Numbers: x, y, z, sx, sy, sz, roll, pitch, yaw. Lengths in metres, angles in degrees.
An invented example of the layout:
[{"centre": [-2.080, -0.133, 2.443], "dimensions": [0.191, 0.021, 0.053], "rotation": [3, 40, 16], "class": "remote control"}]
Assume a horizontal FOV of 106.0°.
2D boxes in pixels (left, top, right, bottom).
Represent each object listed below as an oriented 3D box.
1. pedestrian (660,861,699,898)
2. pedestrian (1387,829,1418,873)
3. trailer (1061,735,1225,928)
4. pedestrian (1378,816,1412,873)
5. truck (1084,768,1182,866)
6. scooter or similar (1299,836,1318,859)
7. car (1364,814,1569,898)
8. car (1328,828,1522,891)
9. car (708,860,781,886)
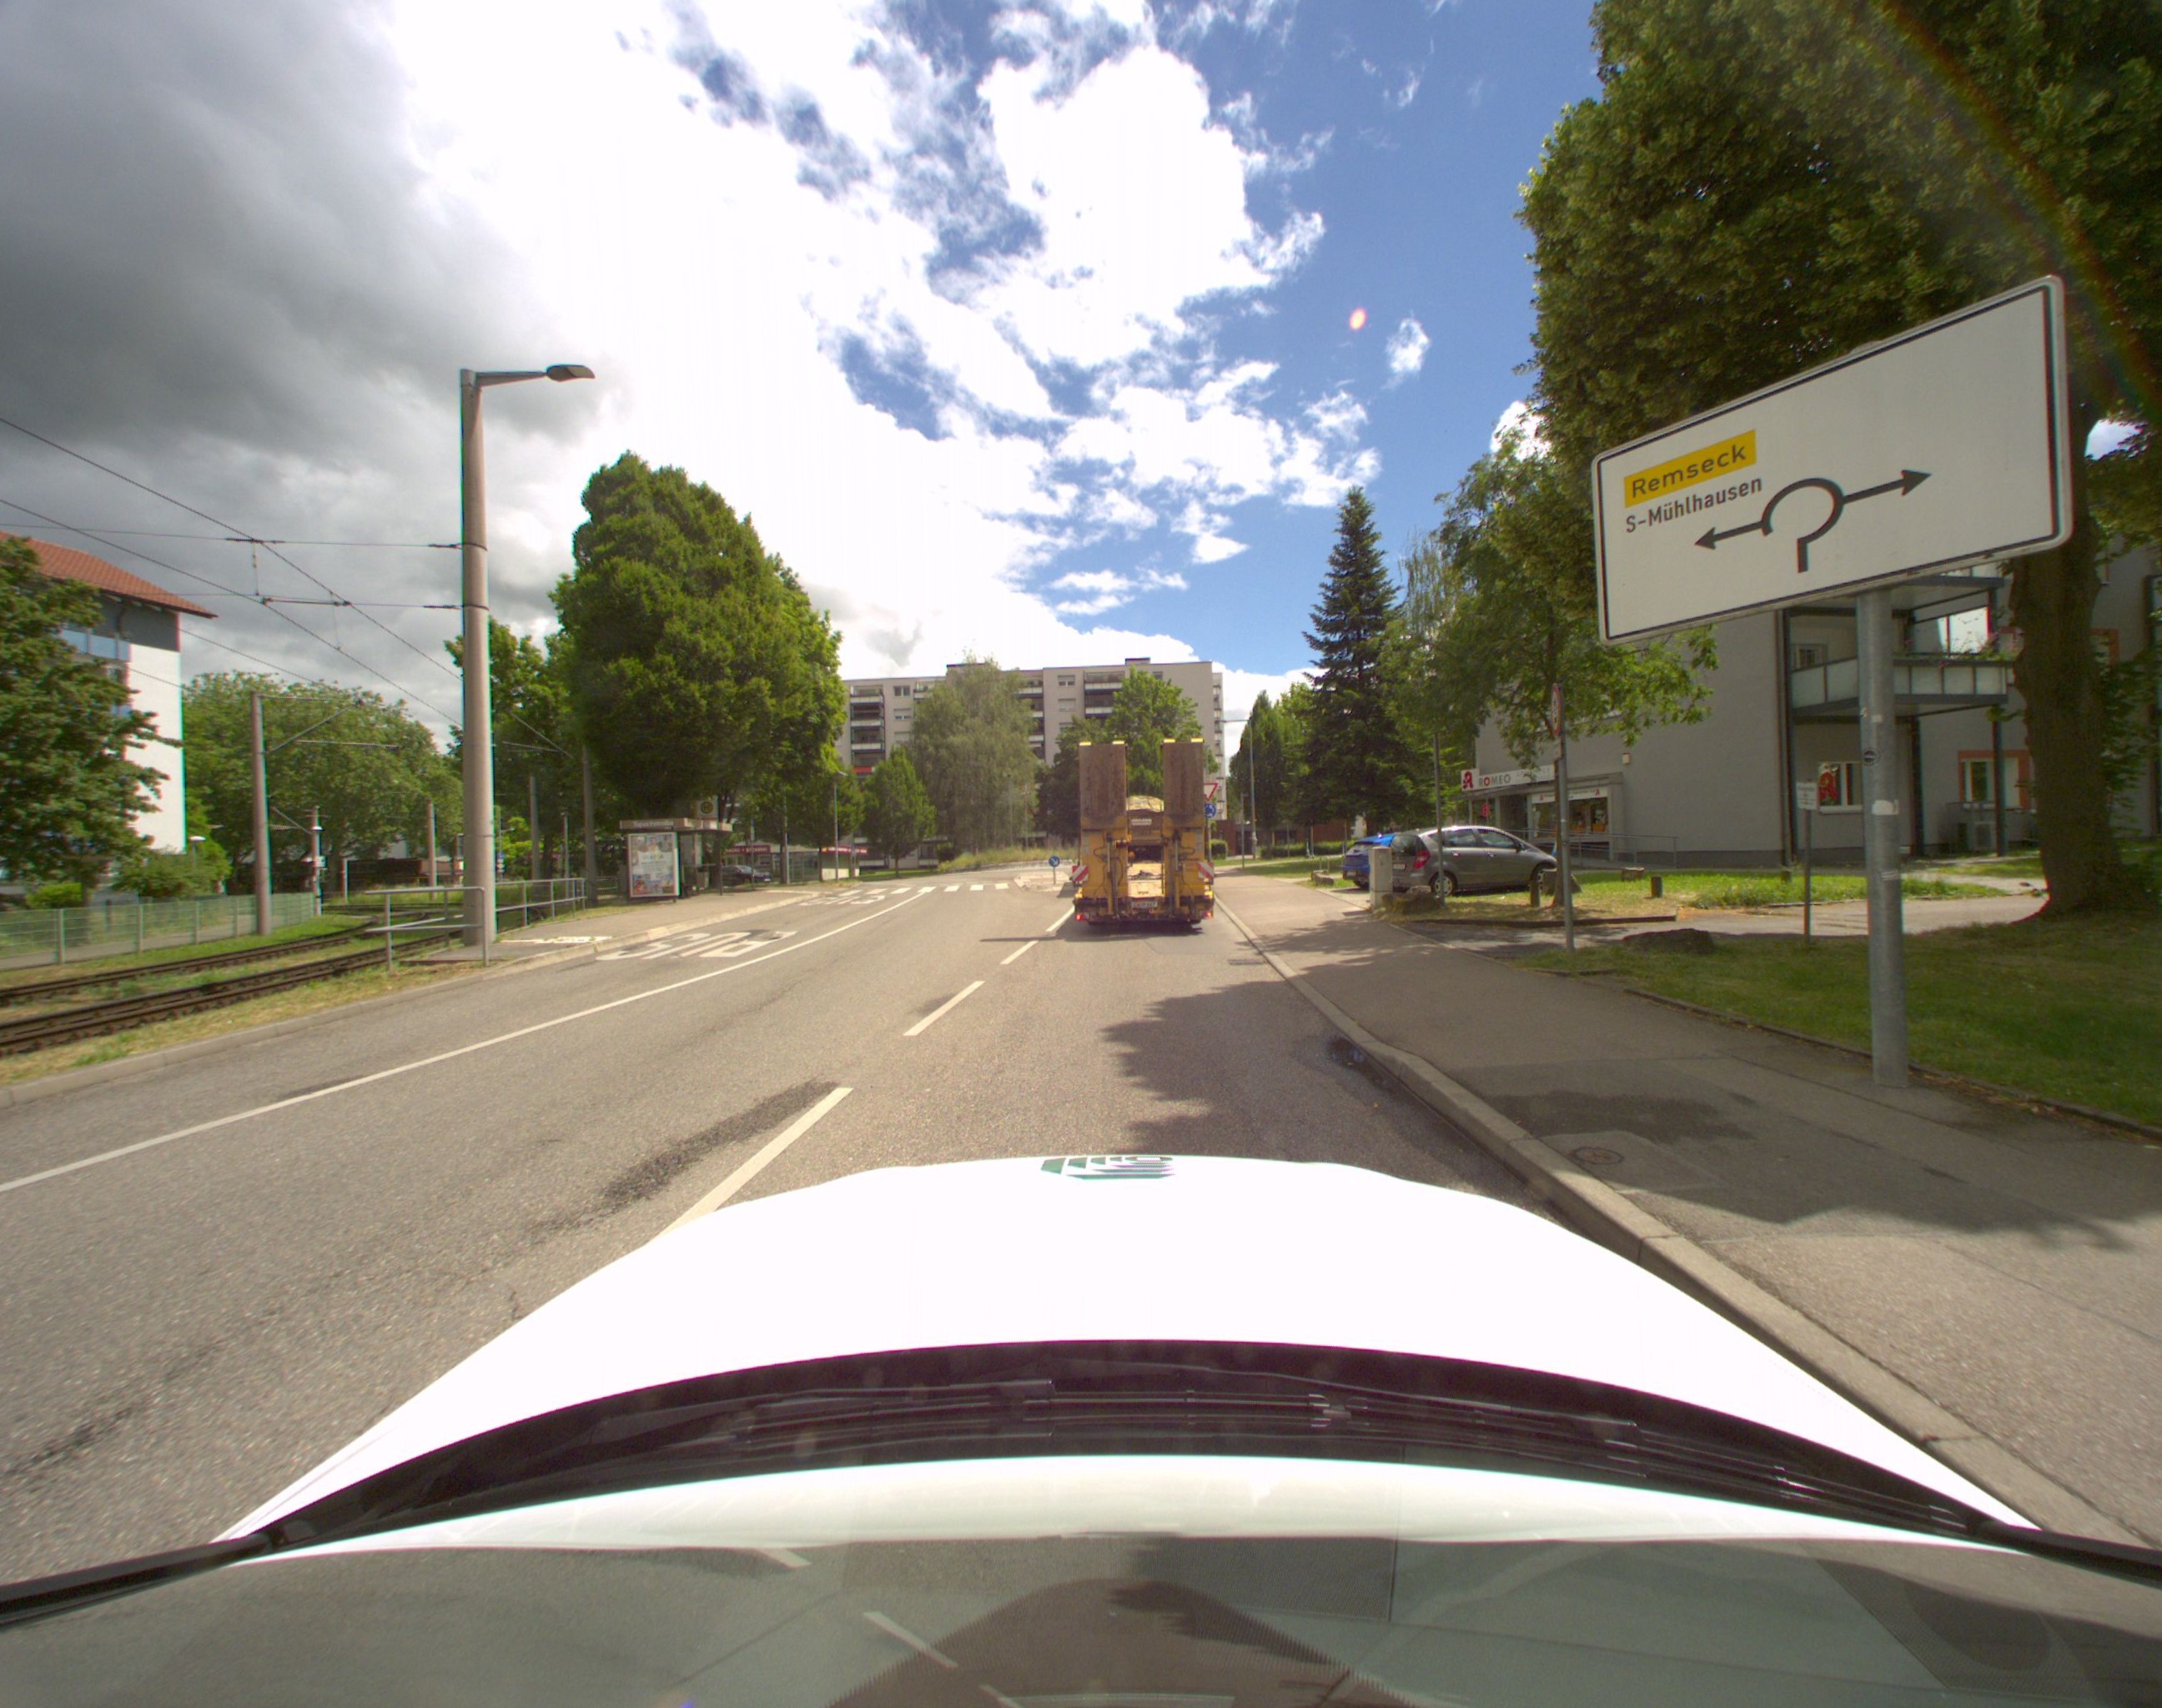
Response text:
[{"centre": [-12.845, 0.810, 26.059], "dimensions": [0.797, 1.135, 0.910], "rotation": [-1, 0, -4], "class": "pedestrian"}, {"centre": [11.512, -0.120, 29.177], "dimensions": [0.740, 1.529, 0.690], "rotation": [-3, 0, -5], "class": "pedestrian"}, {"centre": [1.392, -0.498, 19.948], "dimensions": [2.852, 3.372, 10.850], "rotation": [-1, 1, 3], "class": "trailer"}, {"centre": [11.472, -0.334, 29.799], "dimensions": [0.653, 2.013, 1.043], "rotation": [-3, 0, -9], "class": "pedestrian"}, {"centre": [1.638, -1.273, 29.498], "dimensions": [2.978, 3.034, 8.485], "rotation": [-1, 2, 0], "class": "truck"}, {"centre": [13.969, -0.383, 49.977], "dimensions": [0.480, 1.343, 1.397], "rotation": [-3, 0, 40], "class": "scooter or similar"}, {"centre": [8.819, 0.033, 18.829], "dimensions": [3.727, 1.556, 2.026], "rotation": [-5, 1, -8], "class": "car"}, {"centre": [9.303, 0.129, 22.185], "dimensions": [4.484, 1.243, 1.993], "rotation": [-5, 1, -10], "class": "car"}, {"centre": [-22.785, 1.305, 55.154], "dimensions": [4.468, 1.525, 2.012], "rotation": [-3, 0, 26], "class": "car"}]
